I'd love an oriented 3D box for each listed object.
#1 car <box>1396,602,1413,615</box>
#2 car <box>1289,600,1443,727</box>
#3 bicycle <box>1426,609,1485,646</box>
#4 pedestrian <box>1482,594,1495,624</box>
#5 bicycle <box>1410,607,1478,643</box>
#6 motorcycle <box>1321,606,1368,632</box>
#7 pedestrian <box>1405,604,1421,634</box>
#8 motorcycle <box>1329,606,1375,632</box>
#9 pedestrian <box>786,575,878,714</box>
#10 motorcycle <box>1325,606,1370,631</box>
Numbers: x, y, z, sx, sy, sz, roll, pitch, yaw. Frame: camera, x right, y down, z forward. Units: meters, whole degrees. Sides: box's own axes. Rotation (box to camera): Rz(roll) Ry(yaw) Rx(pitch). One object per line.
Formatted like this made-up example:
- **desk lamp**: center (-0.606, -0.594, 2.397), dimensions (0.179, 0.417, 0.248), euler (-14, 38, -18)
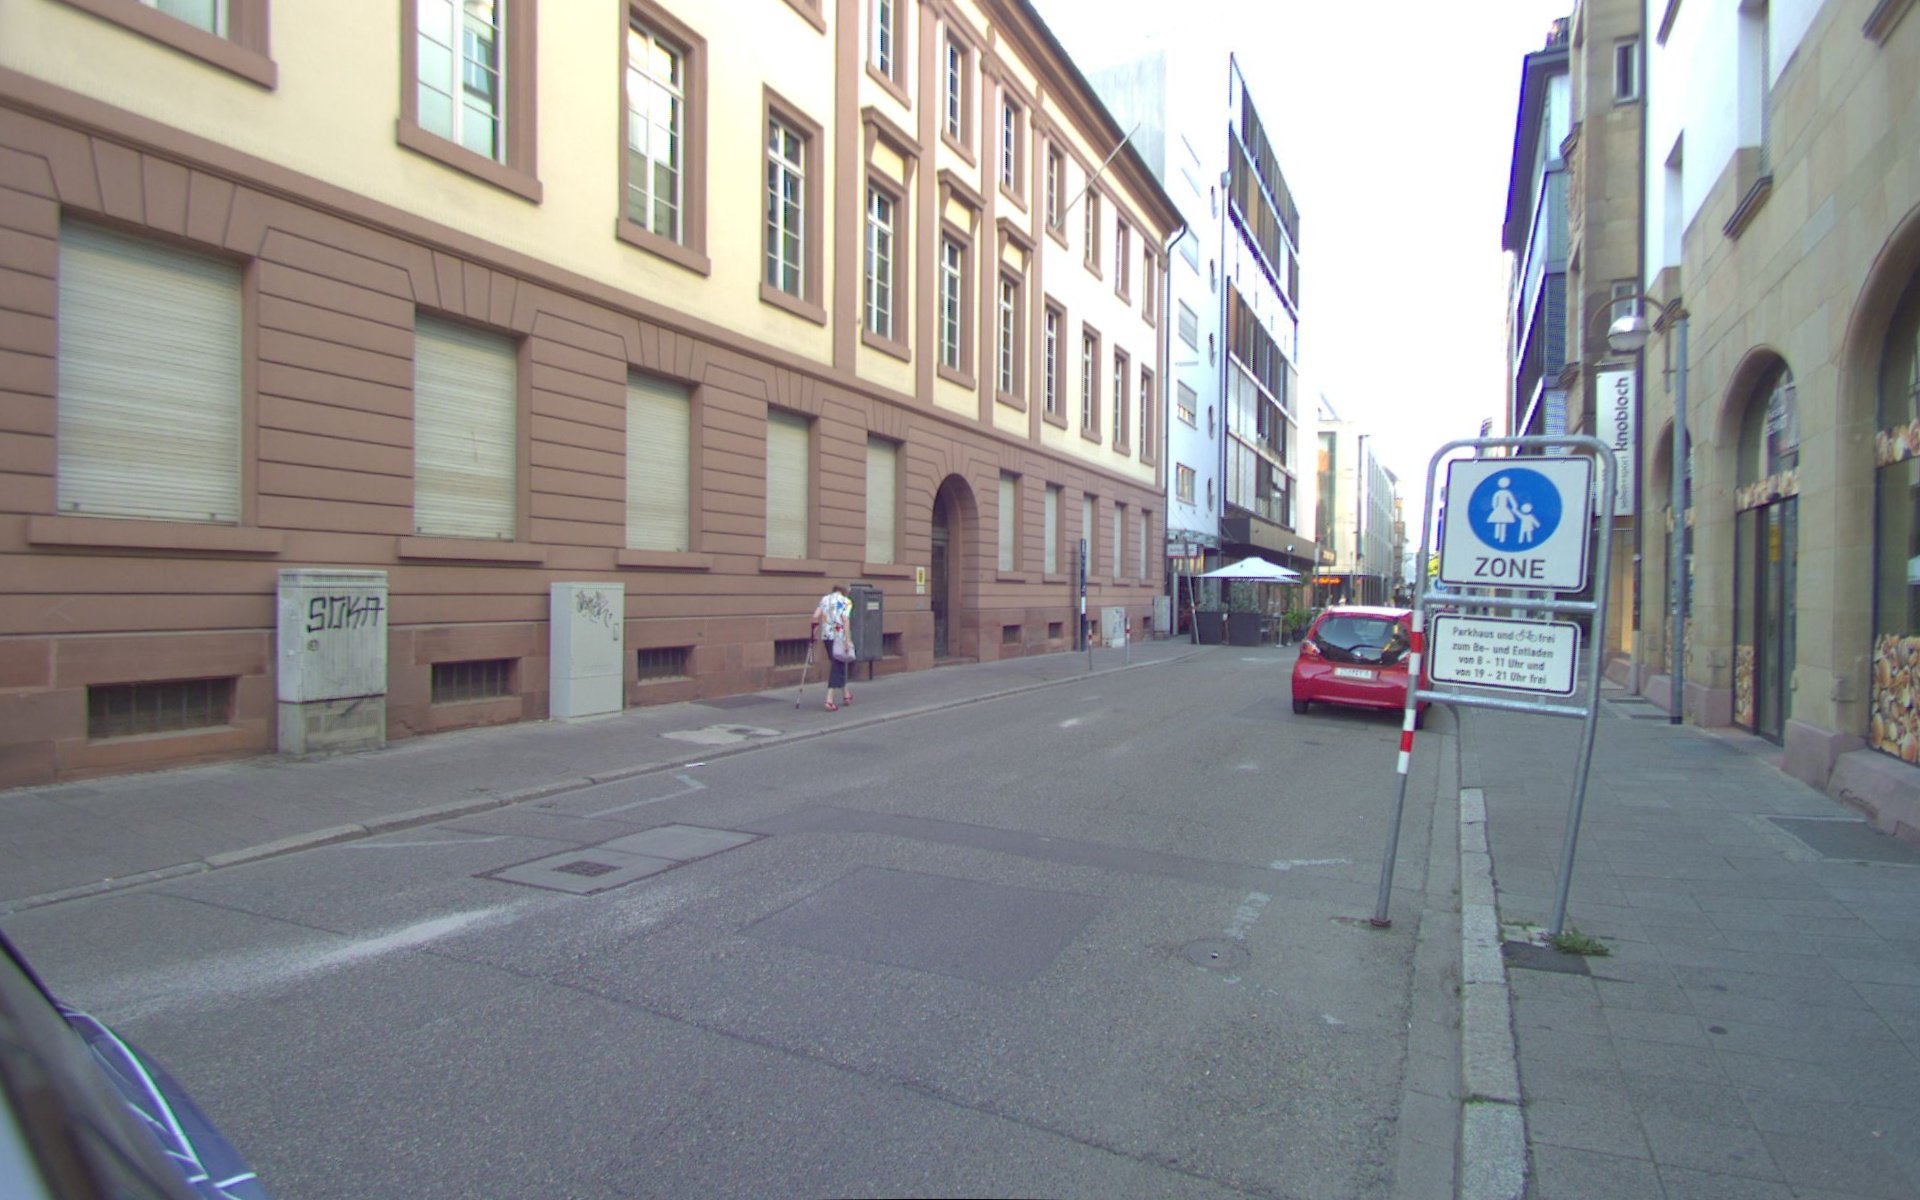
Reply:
- **car**: center (47.046, 0.907, 107.044), dimensions (1.419, 1.310, 3.531), euler (-2, -1, 26)
- **car**: center (5.622, 0.760, 13.810), dimensions (1.631, 1.452, 3.127), euler (2, 1, 27)
- **bicycle**: center (15.429, 0.862, 31.499), dimensions (1.601, 1.127, 0.614), euler (-2, -1, 28)
- **pedestrian**: center (29.649, 0.509, 56.779), dimensions (0.668, 1.684, 0.756), euler (0, -1, 28)
- **bicycle**: center (15.772, 0.821, 33.013), dimensions (1.945, 1.139, 0.614), euler (-2, -1, 28)
- **motorcycle**: center (19.513, 0.971, 51.401), dimensions (2.185, 1.292, 0.645), euler (0, 0, 29)
- **pedestrian**: center (25.407, 1.066, 56.717), dimensions (0.807, 1.684, 0.923), euler (0, 0, 25)
- **motorcycle**: center (20.176, 0.974, 52.120), dimensions (2.185, 1.292, 0.645), euler (0, 0, 29)
- **pedestrian**: center (-1.624, 0.545, 12.913), dimensions (0.807, 1.684, 0.923), euler (0, 0, 25)
- **motorcycle**: center (20.587, 0.989, 53.833), dimensions (2.185, 1.292, 0.645), euler (0, 0, 29)
